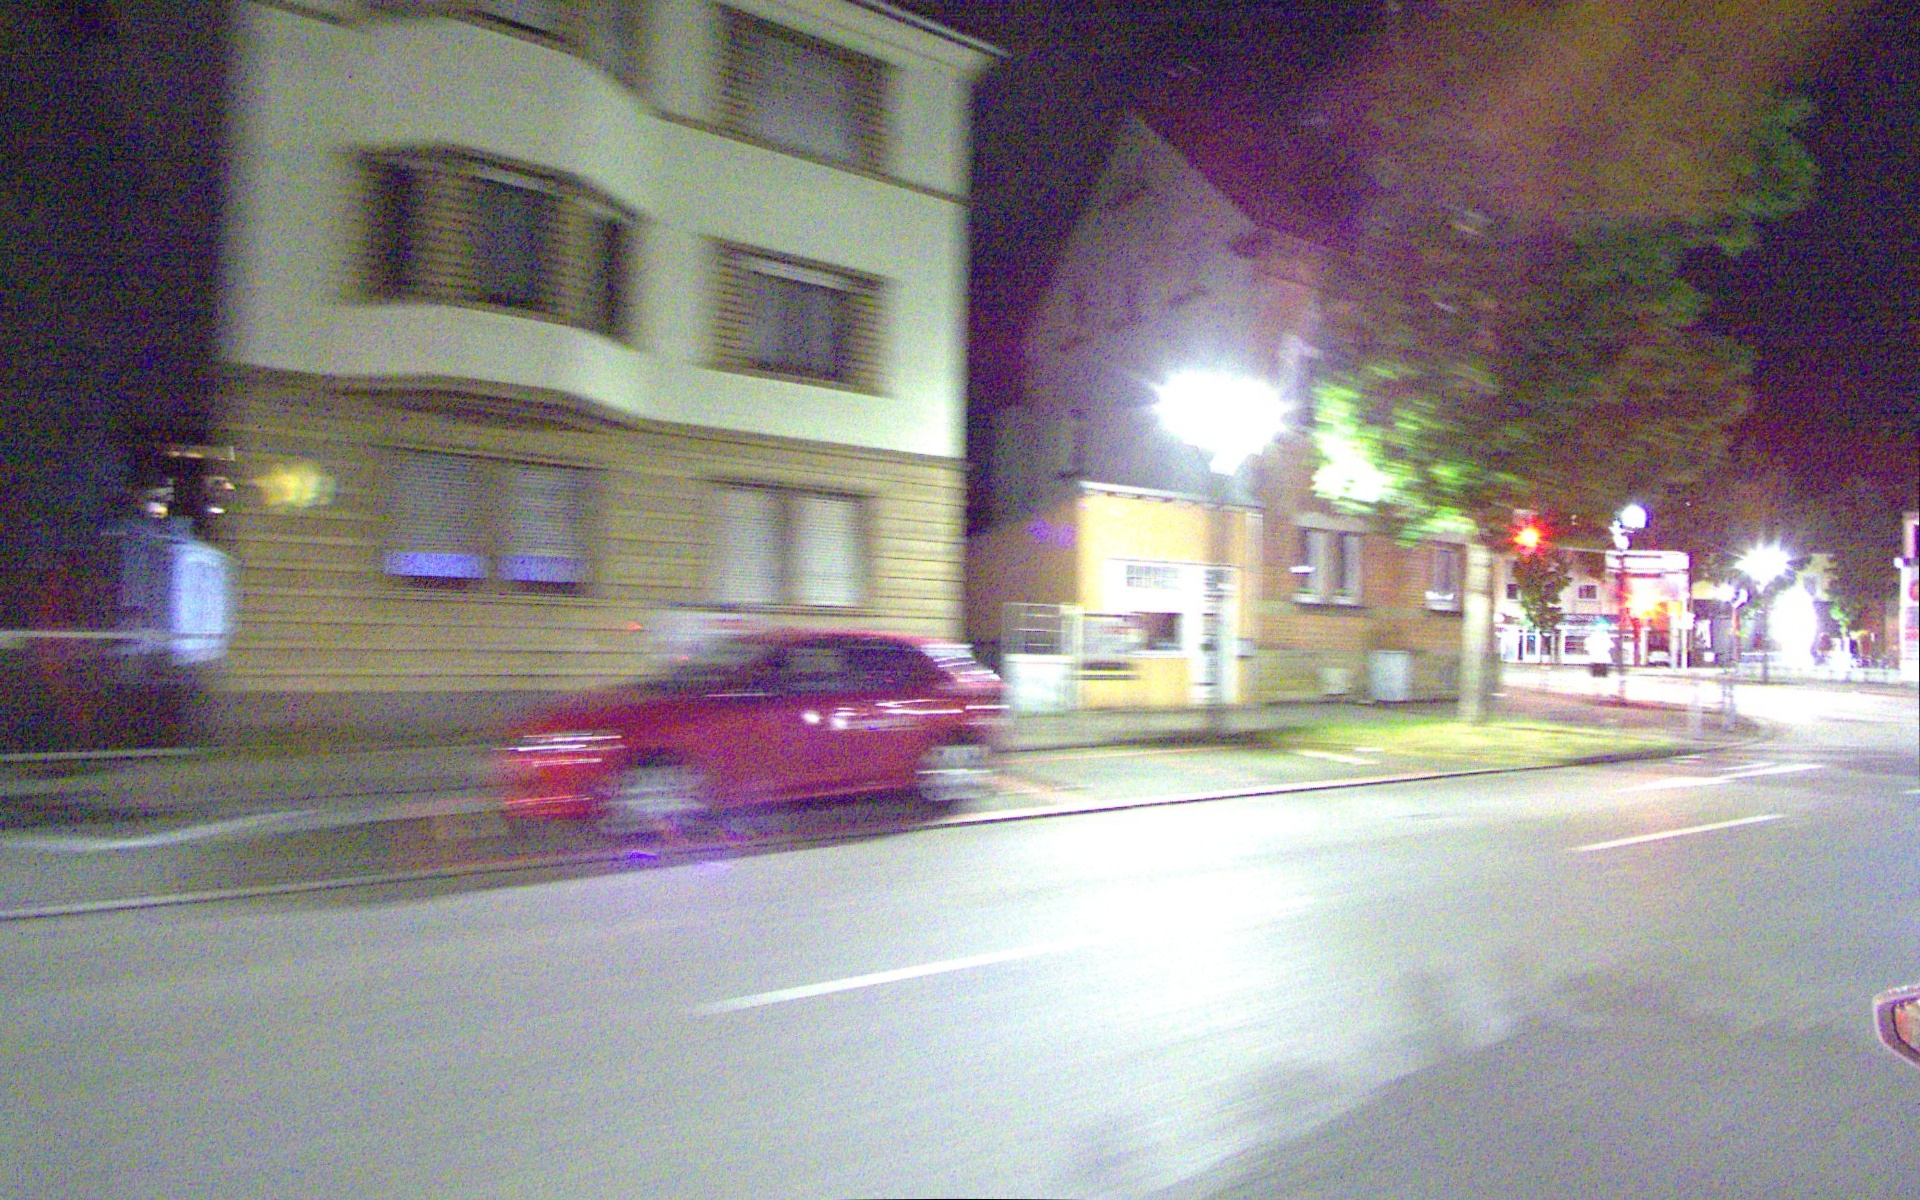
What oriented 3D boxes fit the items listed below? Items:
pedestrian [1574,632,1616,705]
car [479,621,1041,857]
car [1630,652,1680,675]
[{"bbox_3d":[16.686,1.793,26.409,0.711,1.845,0.693,2,-1,13],"label":"pedestrian"},{"bbox_3d":[-1.516,0.951,8.111,4.081,1.434,1.774,2,-1,-32],"label":"car"},{"bbox_3d":[51.224,4.635,74.120,1.960,1.594,3.657,0,-2,16],"label":"car"}]
